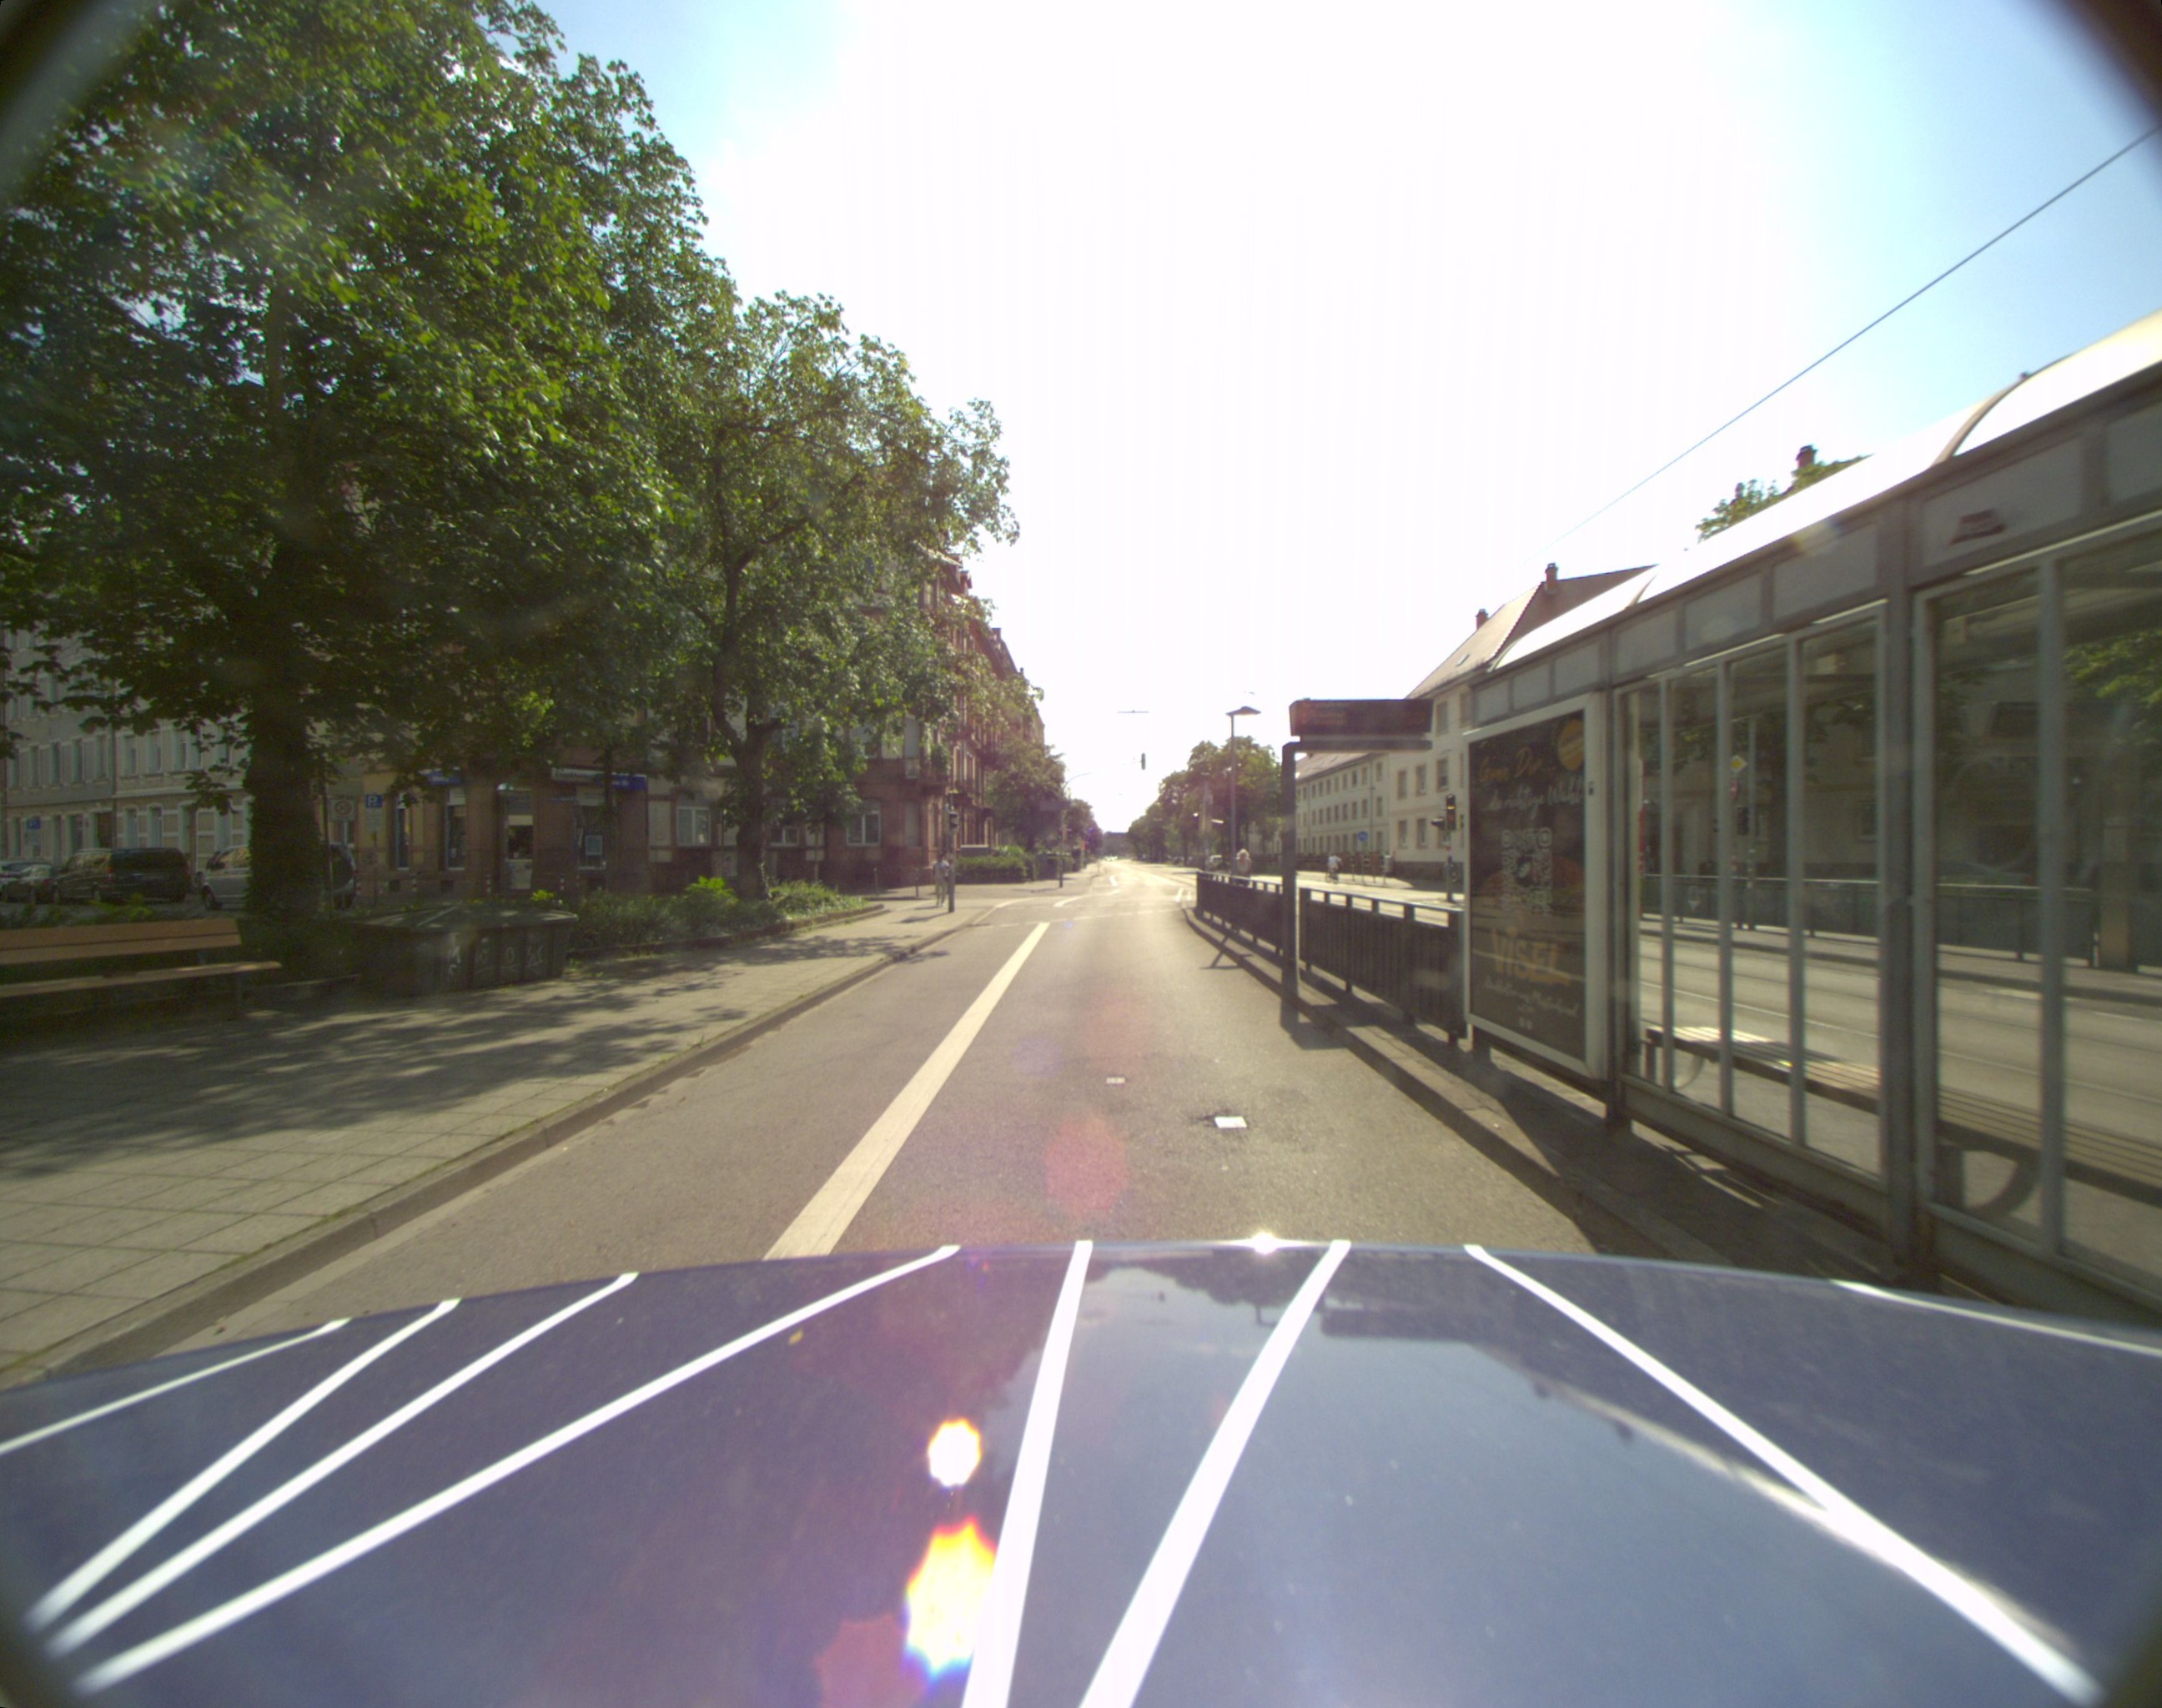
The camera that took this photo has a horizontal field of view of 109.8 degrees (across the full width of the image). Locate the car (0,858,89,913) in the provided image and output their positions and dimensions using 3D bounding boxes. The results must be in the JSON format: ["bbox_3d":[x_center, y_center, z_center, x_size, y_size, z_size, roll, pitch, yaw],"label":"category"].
[{"bbox_3d":[-41.418,1.184,29.841,4.306,2.002,2.003,0,1,24],"label":"car"}]

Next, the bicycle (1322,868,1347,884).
[{"bbox_3d":[14.336,1.255,43.001,0.755,0.844,1.618,0,0,-3],"label":"bicycle"}]

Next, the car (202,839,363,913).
[{"bbox_3d":[-23.296,0.582,22.160,4.306,1.975,1.841,0,2,24],"label":"car"}]

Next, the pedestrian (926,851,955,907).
[{"bbox_3d":[-4.237,0.758,22.991,0.707,1.644,0.534,-2,1,1],"label":"pedestrian"}]

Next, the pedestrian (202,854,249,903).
[{"bbox_3d":[-30.350,0.865,26.967,0.760,1.697,0.930,0,1,28],"label":"pedestrian"}]

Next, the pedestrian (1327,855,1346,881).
[{"bbox_3d":[14.491,0.798,43.114,0.805,1.465,0.806,0,1,-3],"label":"pedestrian"}]

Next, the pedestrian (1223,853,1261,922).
[{"bbox_3d":[3.676,0.761,17.357,0.702,1.524,0.557,-2,1,1],"label":"pedestrian"}]

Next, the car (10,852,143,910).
[{"bbox_3d":[-37.207,0.941,28.143,4.306,2.002,2.003,0,1,24],"label":"car"}]

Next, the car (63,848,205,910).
[{"bbox_3d":[-32.708,0.812,26.245,4.306,2.002,2.003,0,1,24],"label":"car"}]
